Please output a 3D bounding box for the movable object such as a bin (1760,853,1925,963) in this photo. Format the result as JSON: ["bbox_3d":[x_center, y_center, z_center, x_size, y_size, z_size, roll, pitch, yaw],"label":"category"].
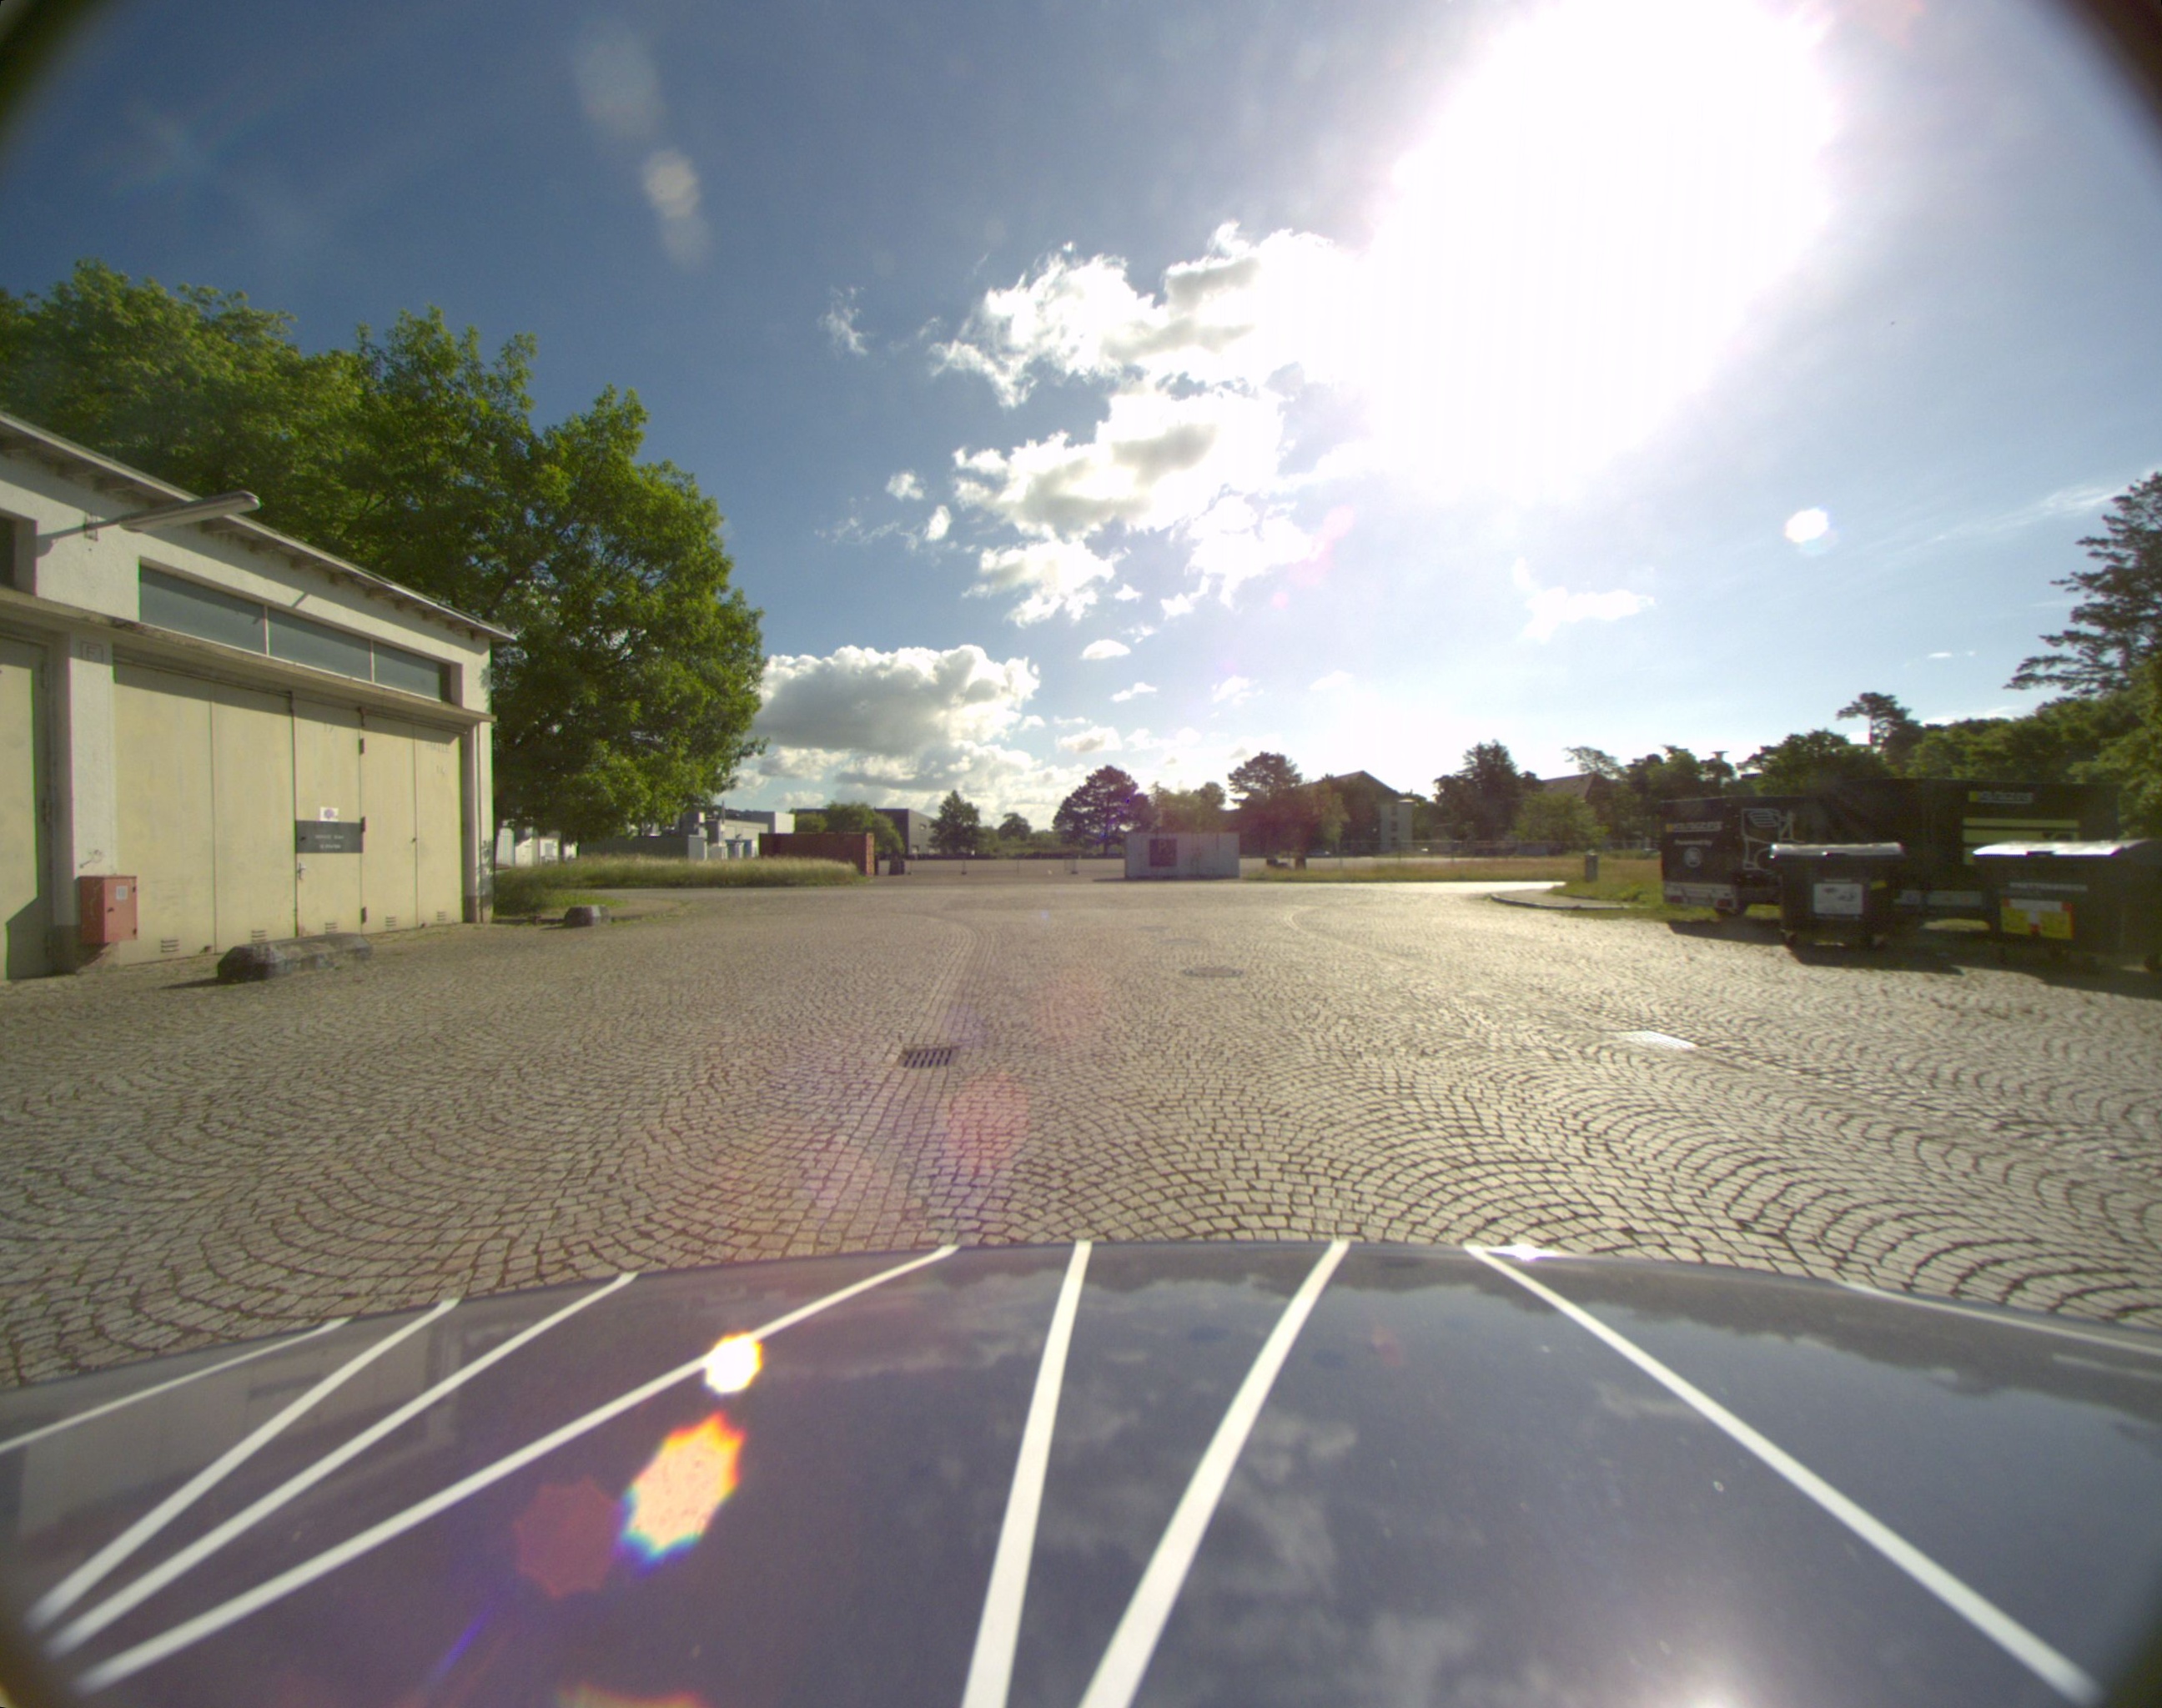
[{"bbox_3d":[10.540,0.683,10.629,1.531,1.378,1.389,1,1,41],"label":"movable object such as a bin"}]

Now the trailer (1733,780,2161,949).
[{"bbox_3d":[13.428,0.129,11.909,4.975,2.341,2.094,0,1,-8],"label":"trailer"}]

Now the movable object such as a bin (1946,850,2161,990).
[{"bbox_3d":[11.256,0.671,8.537,1.299,1.414,1.535,0,1,-3],"label":"movable object such as a bin"}]

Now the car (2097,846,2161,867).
[{"bbox_3d":[96.376,0.189,69.417,4.347,1.828,2.246,0,1,-4],"label":"car"}]

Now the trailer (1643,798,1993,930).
[{"bbox_3d":[13.700,0.159,14.348,4.668,2.284,2.136,0,1,-3],"label":"trailer"}]

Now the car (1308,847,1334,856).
[{"bbox_3d":[42.831,-0.467,135.697,4.000,1.573,1.998,0,1,-9],"label":"car"}]
